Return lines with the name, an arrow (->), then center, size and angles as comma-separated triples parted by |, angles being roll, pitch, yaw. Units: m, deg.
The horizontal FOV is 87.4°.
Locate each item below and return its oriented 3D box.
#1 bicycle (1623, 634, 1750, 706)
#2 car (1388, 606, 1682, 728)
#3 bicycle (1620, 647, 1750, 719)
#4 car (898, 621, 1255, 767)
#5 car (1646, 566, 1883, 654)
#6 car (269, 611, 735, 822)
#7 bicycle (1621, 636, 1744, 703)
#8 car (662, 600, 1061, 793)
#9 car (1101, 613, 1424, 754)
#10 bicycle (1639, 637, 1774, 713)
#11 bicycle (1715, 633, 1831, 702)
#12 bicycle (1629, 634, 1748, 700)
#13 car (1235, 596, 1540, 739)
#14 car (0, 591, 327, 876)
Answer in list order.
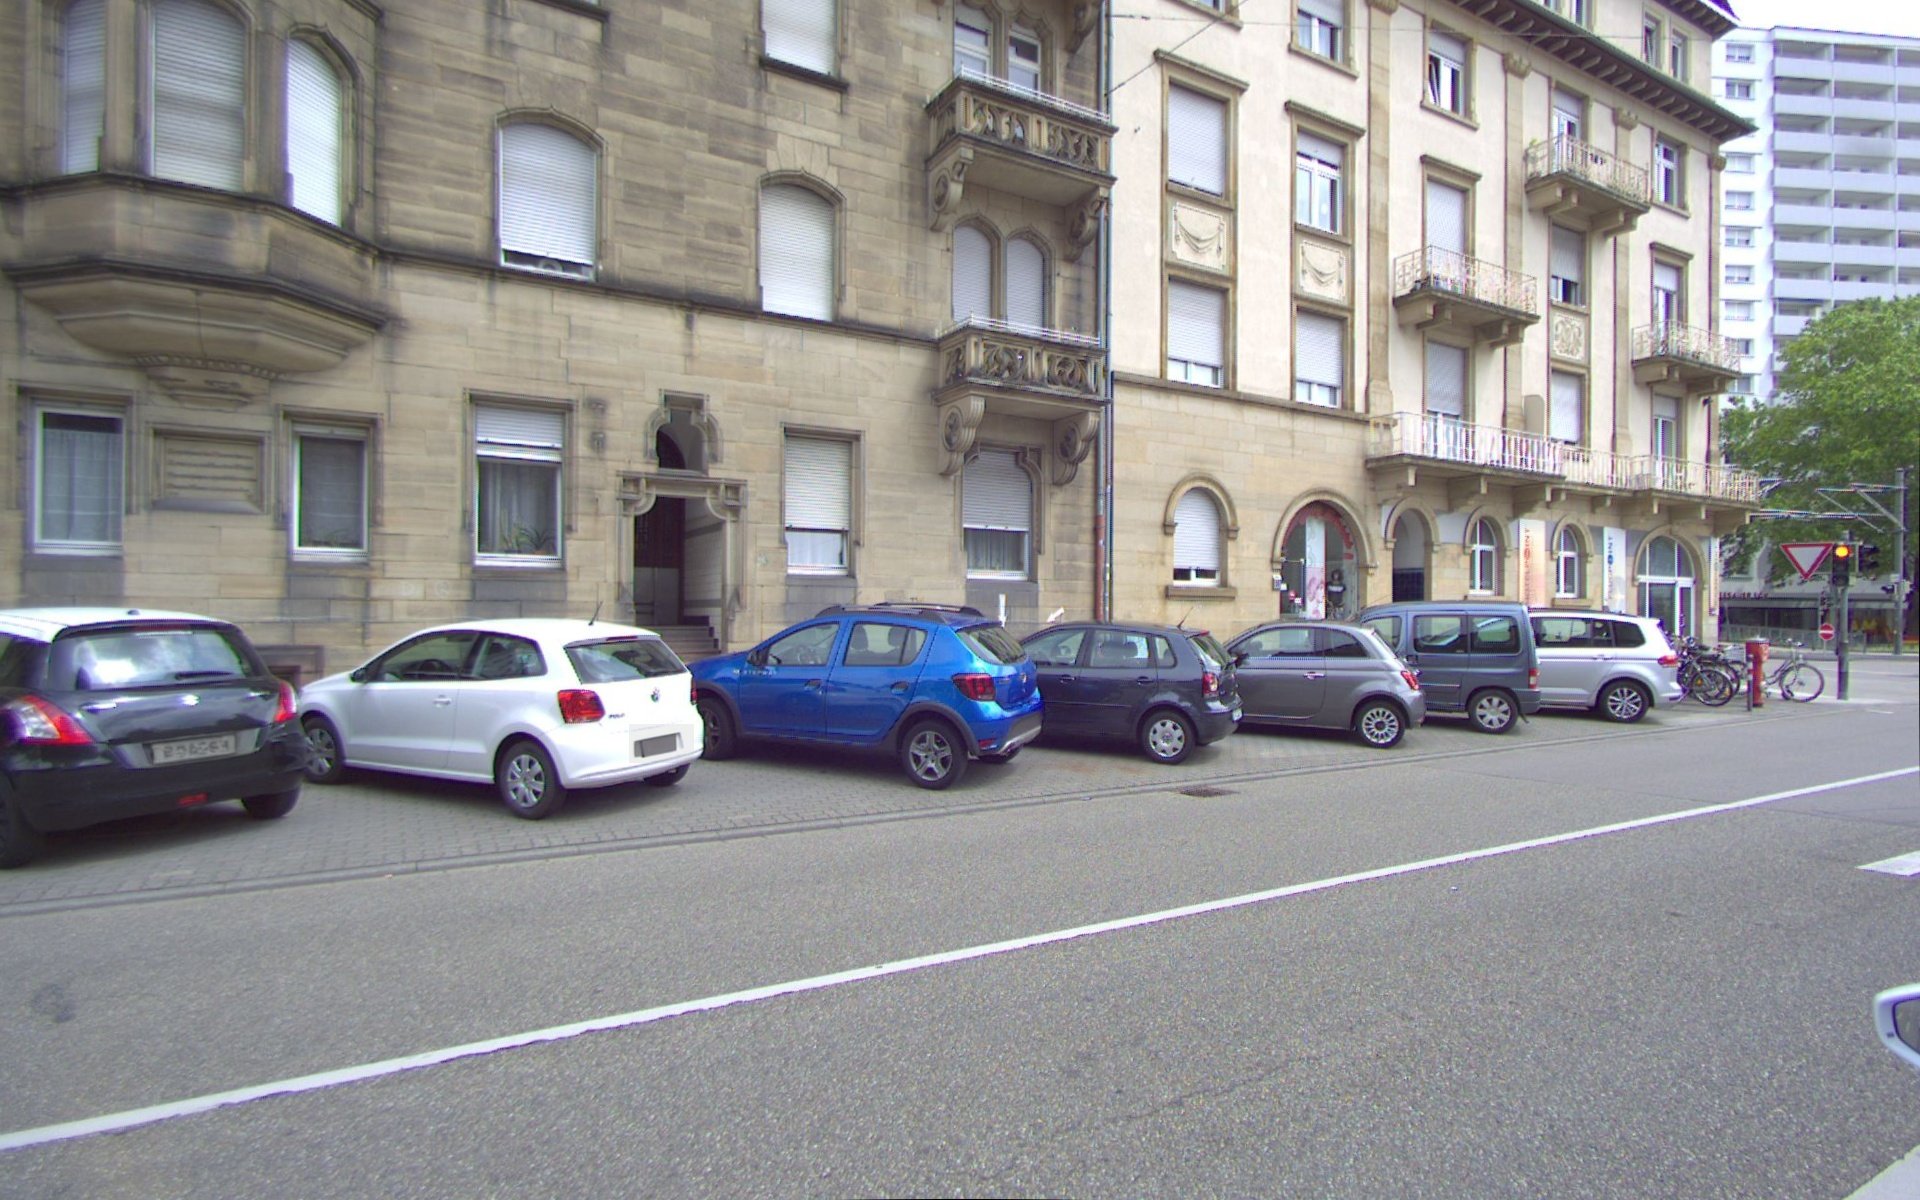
bicycle -> 13.481, 1.263, 18.683 | 0.588, 1.182, 1.796 | 1, 1, -37
car -> 9.159, 1.013, 16.397 | 3.934, 1.797, 1.796 | 0, -1, 22
bicycle -> 12.560, 1.405, 17.467 | 0.586, 1.135, 1.805 | 1, -1, -23
car -> 1.388, 0.998, 11.884 | 3.829, 1.463, 1.836 | 0, -1, 25
car -> 39.786, 0.553, 50.362 | 3.389, 3.967, 9.911 | 0, -1, -5
car -> -3.965, 0.856, 8.719 | 3.616, 1.501, 1.741 | 0, -1, 24
bicycle -> 13.838, 1.307, 19.282 | 0.588, 1.135, 1.796 | 1, 1, -37
car -> -0.999, 0.862, 10.272 | 3.706, 1.673, 1.723 | 0, -1, 24
car -> 4.037, 1.023, 13.555 | 3.934, 1.673, 1.796 | 0, -1, 22
bicycle -> 13.156, 1.295, 17.762 | 0.586, 1.135, 1.803 | 1, 2, -25
bicycle -> 15.752, 1.289, 19.529 | 0.489, 1.182, 1.878 | 1, 1, -9
bicycle -> 14.335, 1.291, 19.810 | 0.588, 1.135, 1.796 | 1, 1, -37
car -> 6.224, 0.915, 14.950 | 3.934, 1.904, 1.796 | 0, -1, 22
car -> -6.666, 0.768, 7.312 | 3.939, 1.585, 1.794 | 0, -1, 29
